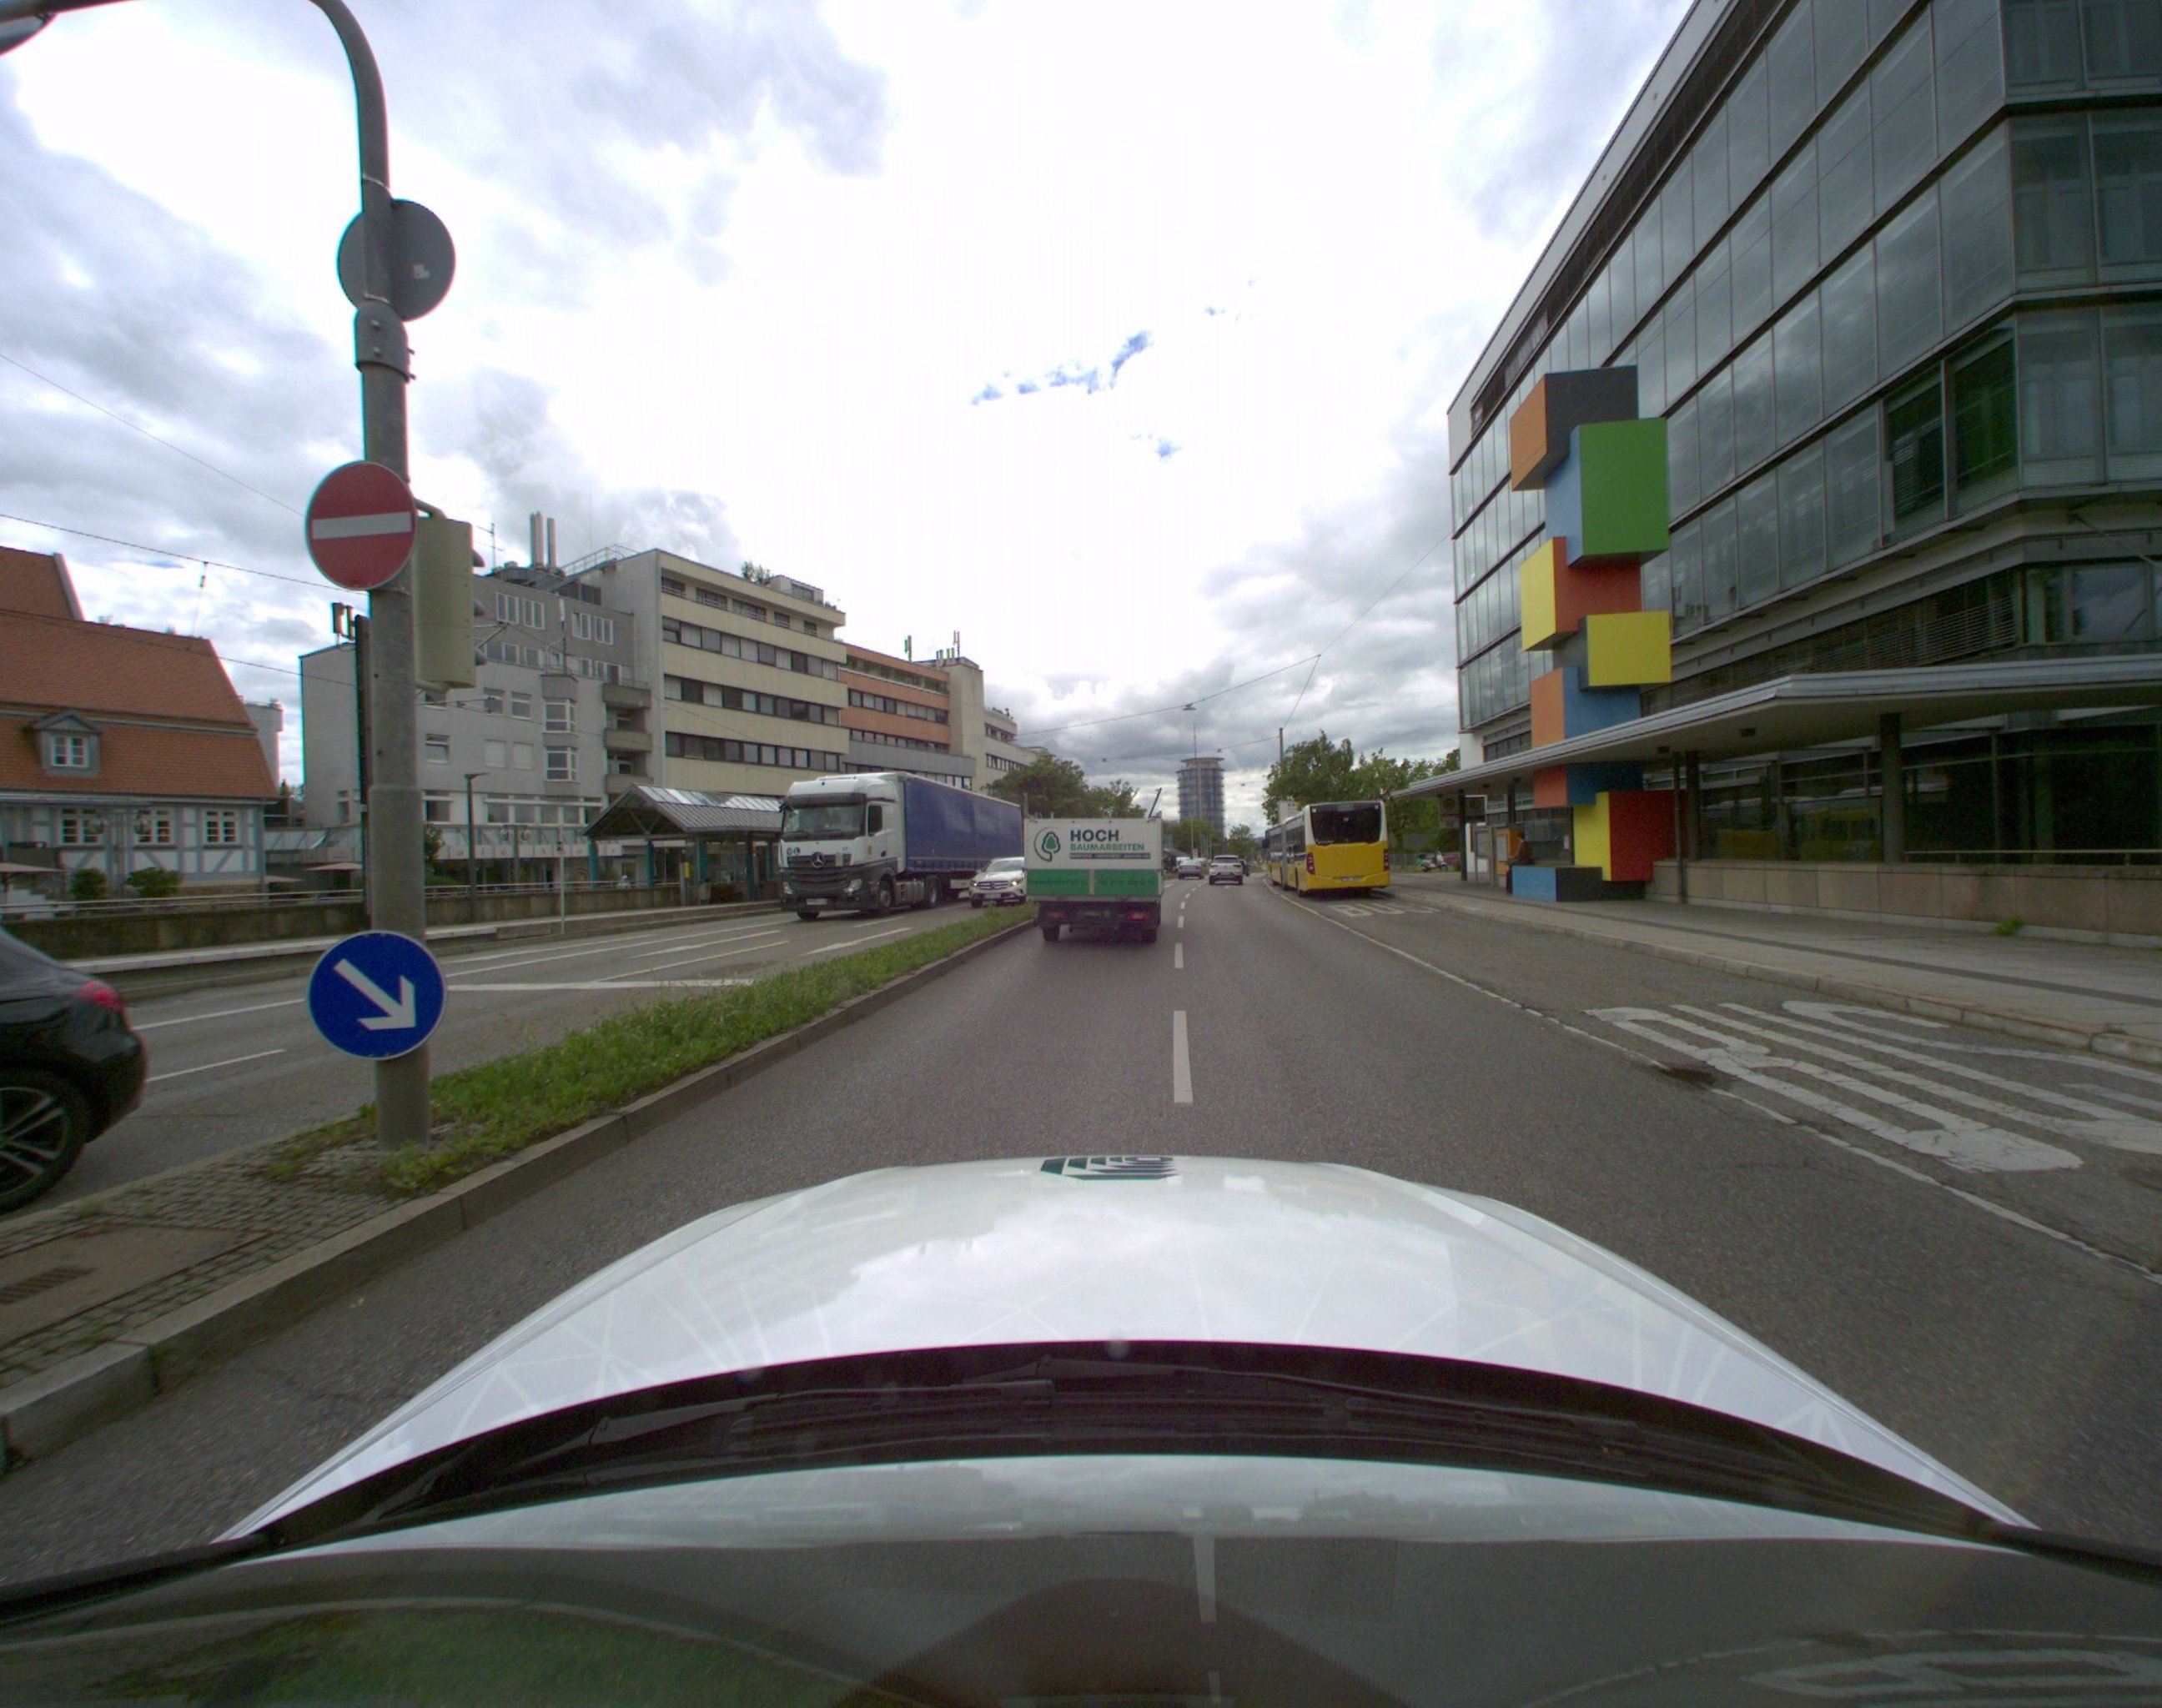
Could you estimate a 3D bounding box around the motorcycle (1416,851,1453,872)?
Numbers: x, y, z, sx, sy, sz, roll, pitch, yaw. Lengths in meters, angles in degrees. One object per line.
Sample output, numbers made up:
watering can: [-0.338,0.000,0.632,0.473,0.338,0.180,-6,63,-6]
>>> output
motorcycle: [19.261,0.409,44.418,0.825,1.115,1.729,-2,0,-22]

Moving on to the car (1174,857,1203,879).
car: [7.752,0.975,58.470,1.857,1.505,4.785,-1,0,9]

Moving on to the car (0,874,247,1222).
car: [-5.755,0.863,2.114,1.984,1.459,4.781,-1,0,6]

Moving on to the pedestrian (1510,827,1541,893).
pedestrian: [11.931,0.157,21.864,0.505,1.735,0.573,-1,-1,7]

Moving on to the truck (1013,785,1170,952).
truck: [0.481,0.229,16.100,2.458,2.611,6.558,-1,0,6]

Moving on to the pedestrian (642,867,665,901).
pedestrian: [-22.261,1.571,42.380,0.804,1.735,0.653,-2,-1,12]

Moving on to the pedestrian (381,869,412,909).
pedestrian: [-27.259,1.386,32.424,0.643,1.583,0.704,-2,0,23]

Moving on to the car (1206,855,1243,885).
car: [7.752,0.826,44.308,1.857,1.505,4.785,-1,0,9]

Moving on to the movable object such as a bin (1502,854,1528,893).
movable object such as a bin: [11.534,0.510,21.651,0.418,1.029,0.534,-1,-1,7]

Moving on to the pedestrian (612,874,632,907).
pedestrian: [-22.356,1.767,39.677,0.648,1.583,0.601,-1,0,-4]

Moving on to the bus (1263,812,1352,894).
bus: [10.325,0.006,38.156,2.964,3.241,9.891,2,0,10]

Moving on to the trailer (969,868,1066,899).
trailer: [-3.270,1.566,46.365,2.825,1.333,12.153,-2,-1,8]

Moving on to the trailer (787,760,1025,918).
trailer: [-5.356,-0.440,29.767,3.083,4.269,14.887,-2,0,10]

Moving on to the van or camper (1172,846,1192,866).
van or camper: [13.884,0.285,111.495,1.980,2.598,6.137,-4,-1,13]

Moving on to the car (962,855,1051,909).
car: [-2.282,0.823,26.179,1.776,1.516,4.375,-2,0,9]

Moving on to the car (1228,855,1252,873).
car: [14.208,0.858,72.913,1.857,1.505,4.785,-1,0,9]

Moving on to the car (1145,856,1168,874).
car: [6.431,0.927,69.273,1.578,1.502,3.728,-1,-1,10]

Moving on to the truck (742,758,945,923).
truck: [-6.454,-0.347,23.335,3.072,4.022,6.172,-2,0,10]

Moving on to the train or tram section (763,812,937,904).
train or tram section: [-10.223,0.155,38.238,2.740,3.585,12.037,-1,0,10]

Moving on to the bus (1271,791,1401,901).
bus: [8.862,-0.189,29.537,3.018,3.236,9.360,-2,-1,9]
